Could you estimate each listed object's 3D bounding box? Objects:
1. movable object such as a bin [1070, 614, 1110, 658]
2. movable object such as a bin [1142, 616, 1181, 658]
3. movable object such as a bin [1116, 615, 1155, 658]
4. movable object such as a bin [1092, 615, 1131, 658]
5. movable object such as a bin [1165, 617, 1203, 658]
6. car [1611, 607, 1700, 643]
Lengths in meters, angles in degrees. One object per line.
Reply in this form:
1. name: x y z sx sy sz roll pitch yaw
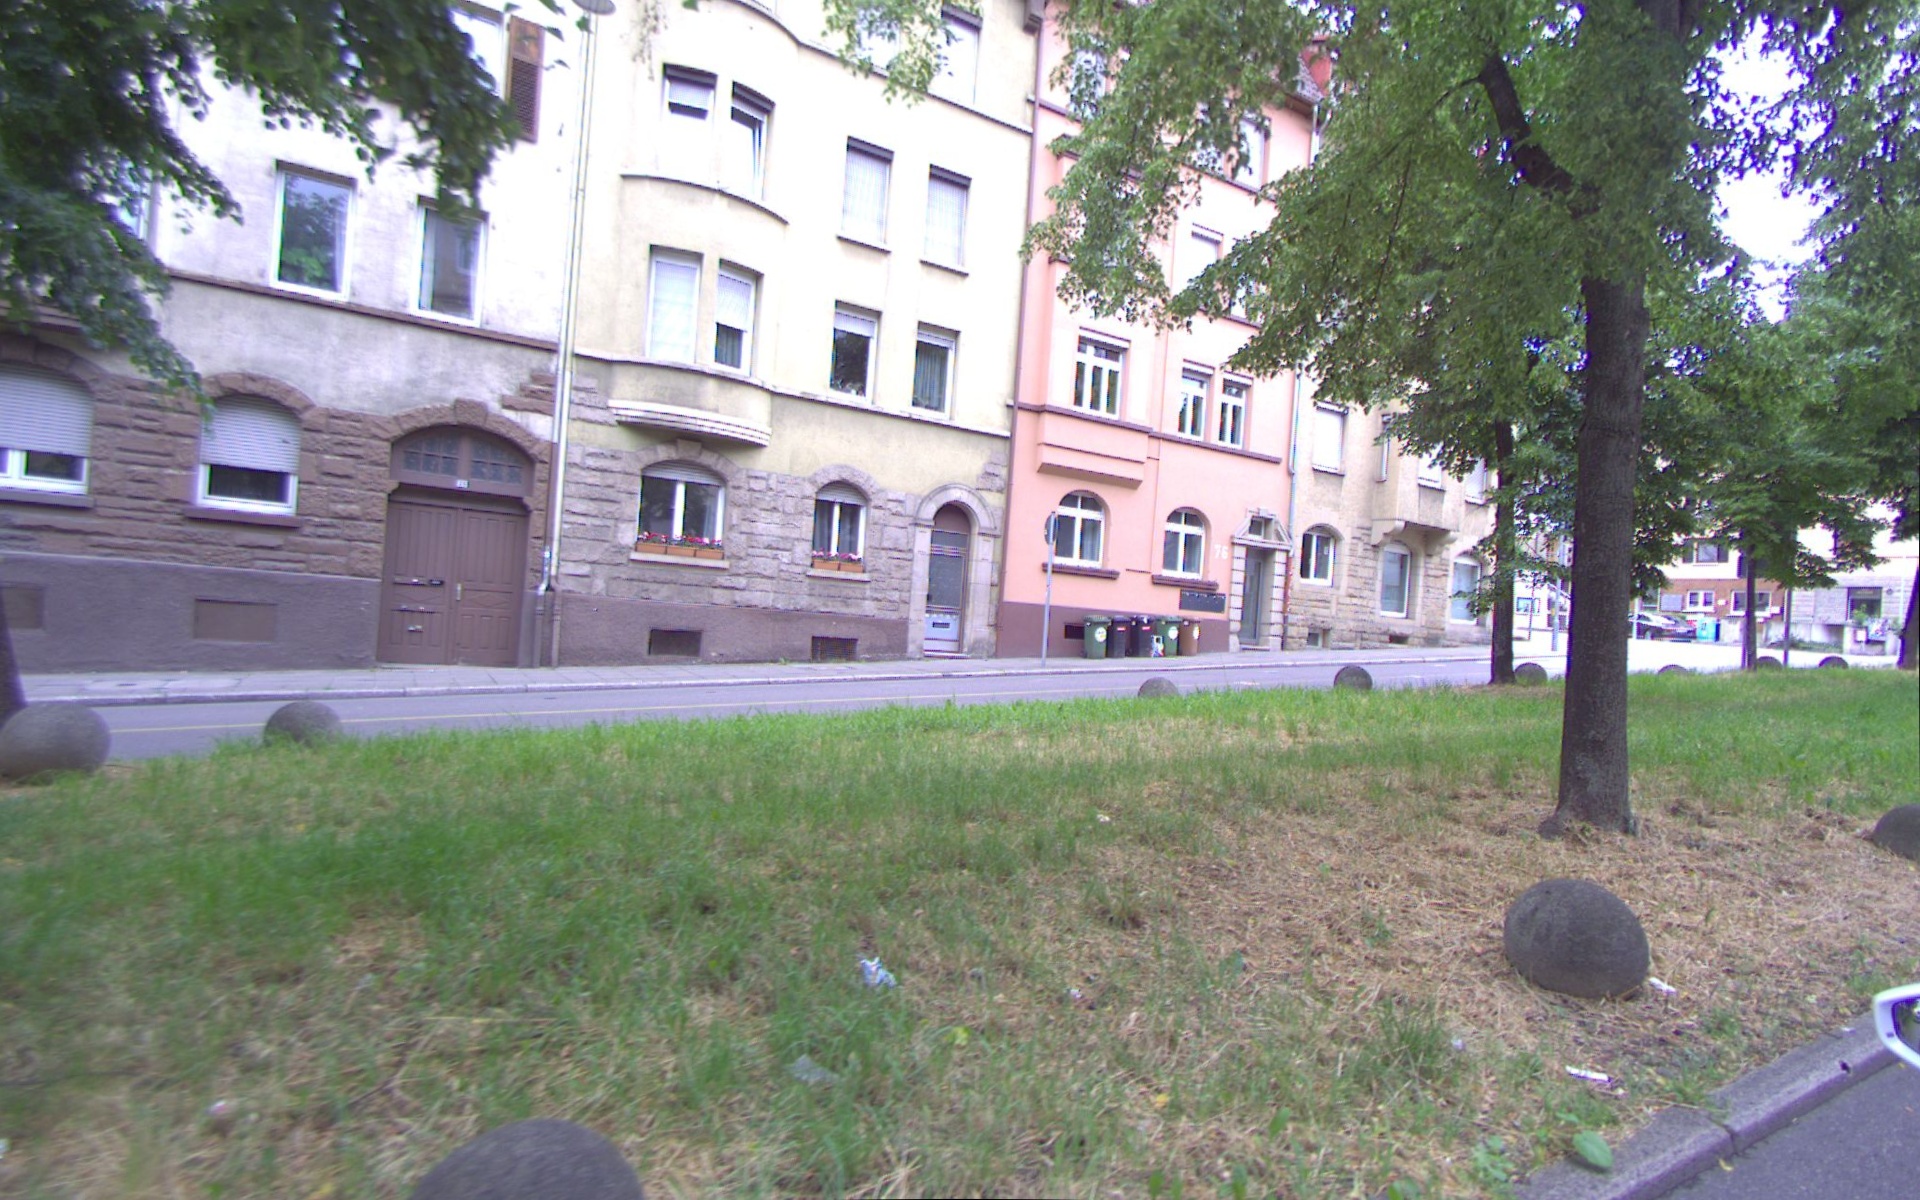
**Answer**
1. movable object such as a bin: 2.839 0.785 21.999 0.595 0.916 0.605 1 2 -34
2. movable object such as a bin: 4.636 0.841 23.097 0.595 0.916 0.605 1 2 -34
3. movable object such as a bin: 3.968 0.818 22.708 0.595 0.916 0.605 1 2 -34
4. movable object such as a bin: 3.367 0.798 22.339 0.595 0.916 0.605 1 2 -34
5. movable object such as a bin: 5.219 0.861 23.432 0.595 0.916 0.605 1 2 -34
6. car: 35.183 1.255 50.960 1.845 1.687 4.001 3 -1 3
